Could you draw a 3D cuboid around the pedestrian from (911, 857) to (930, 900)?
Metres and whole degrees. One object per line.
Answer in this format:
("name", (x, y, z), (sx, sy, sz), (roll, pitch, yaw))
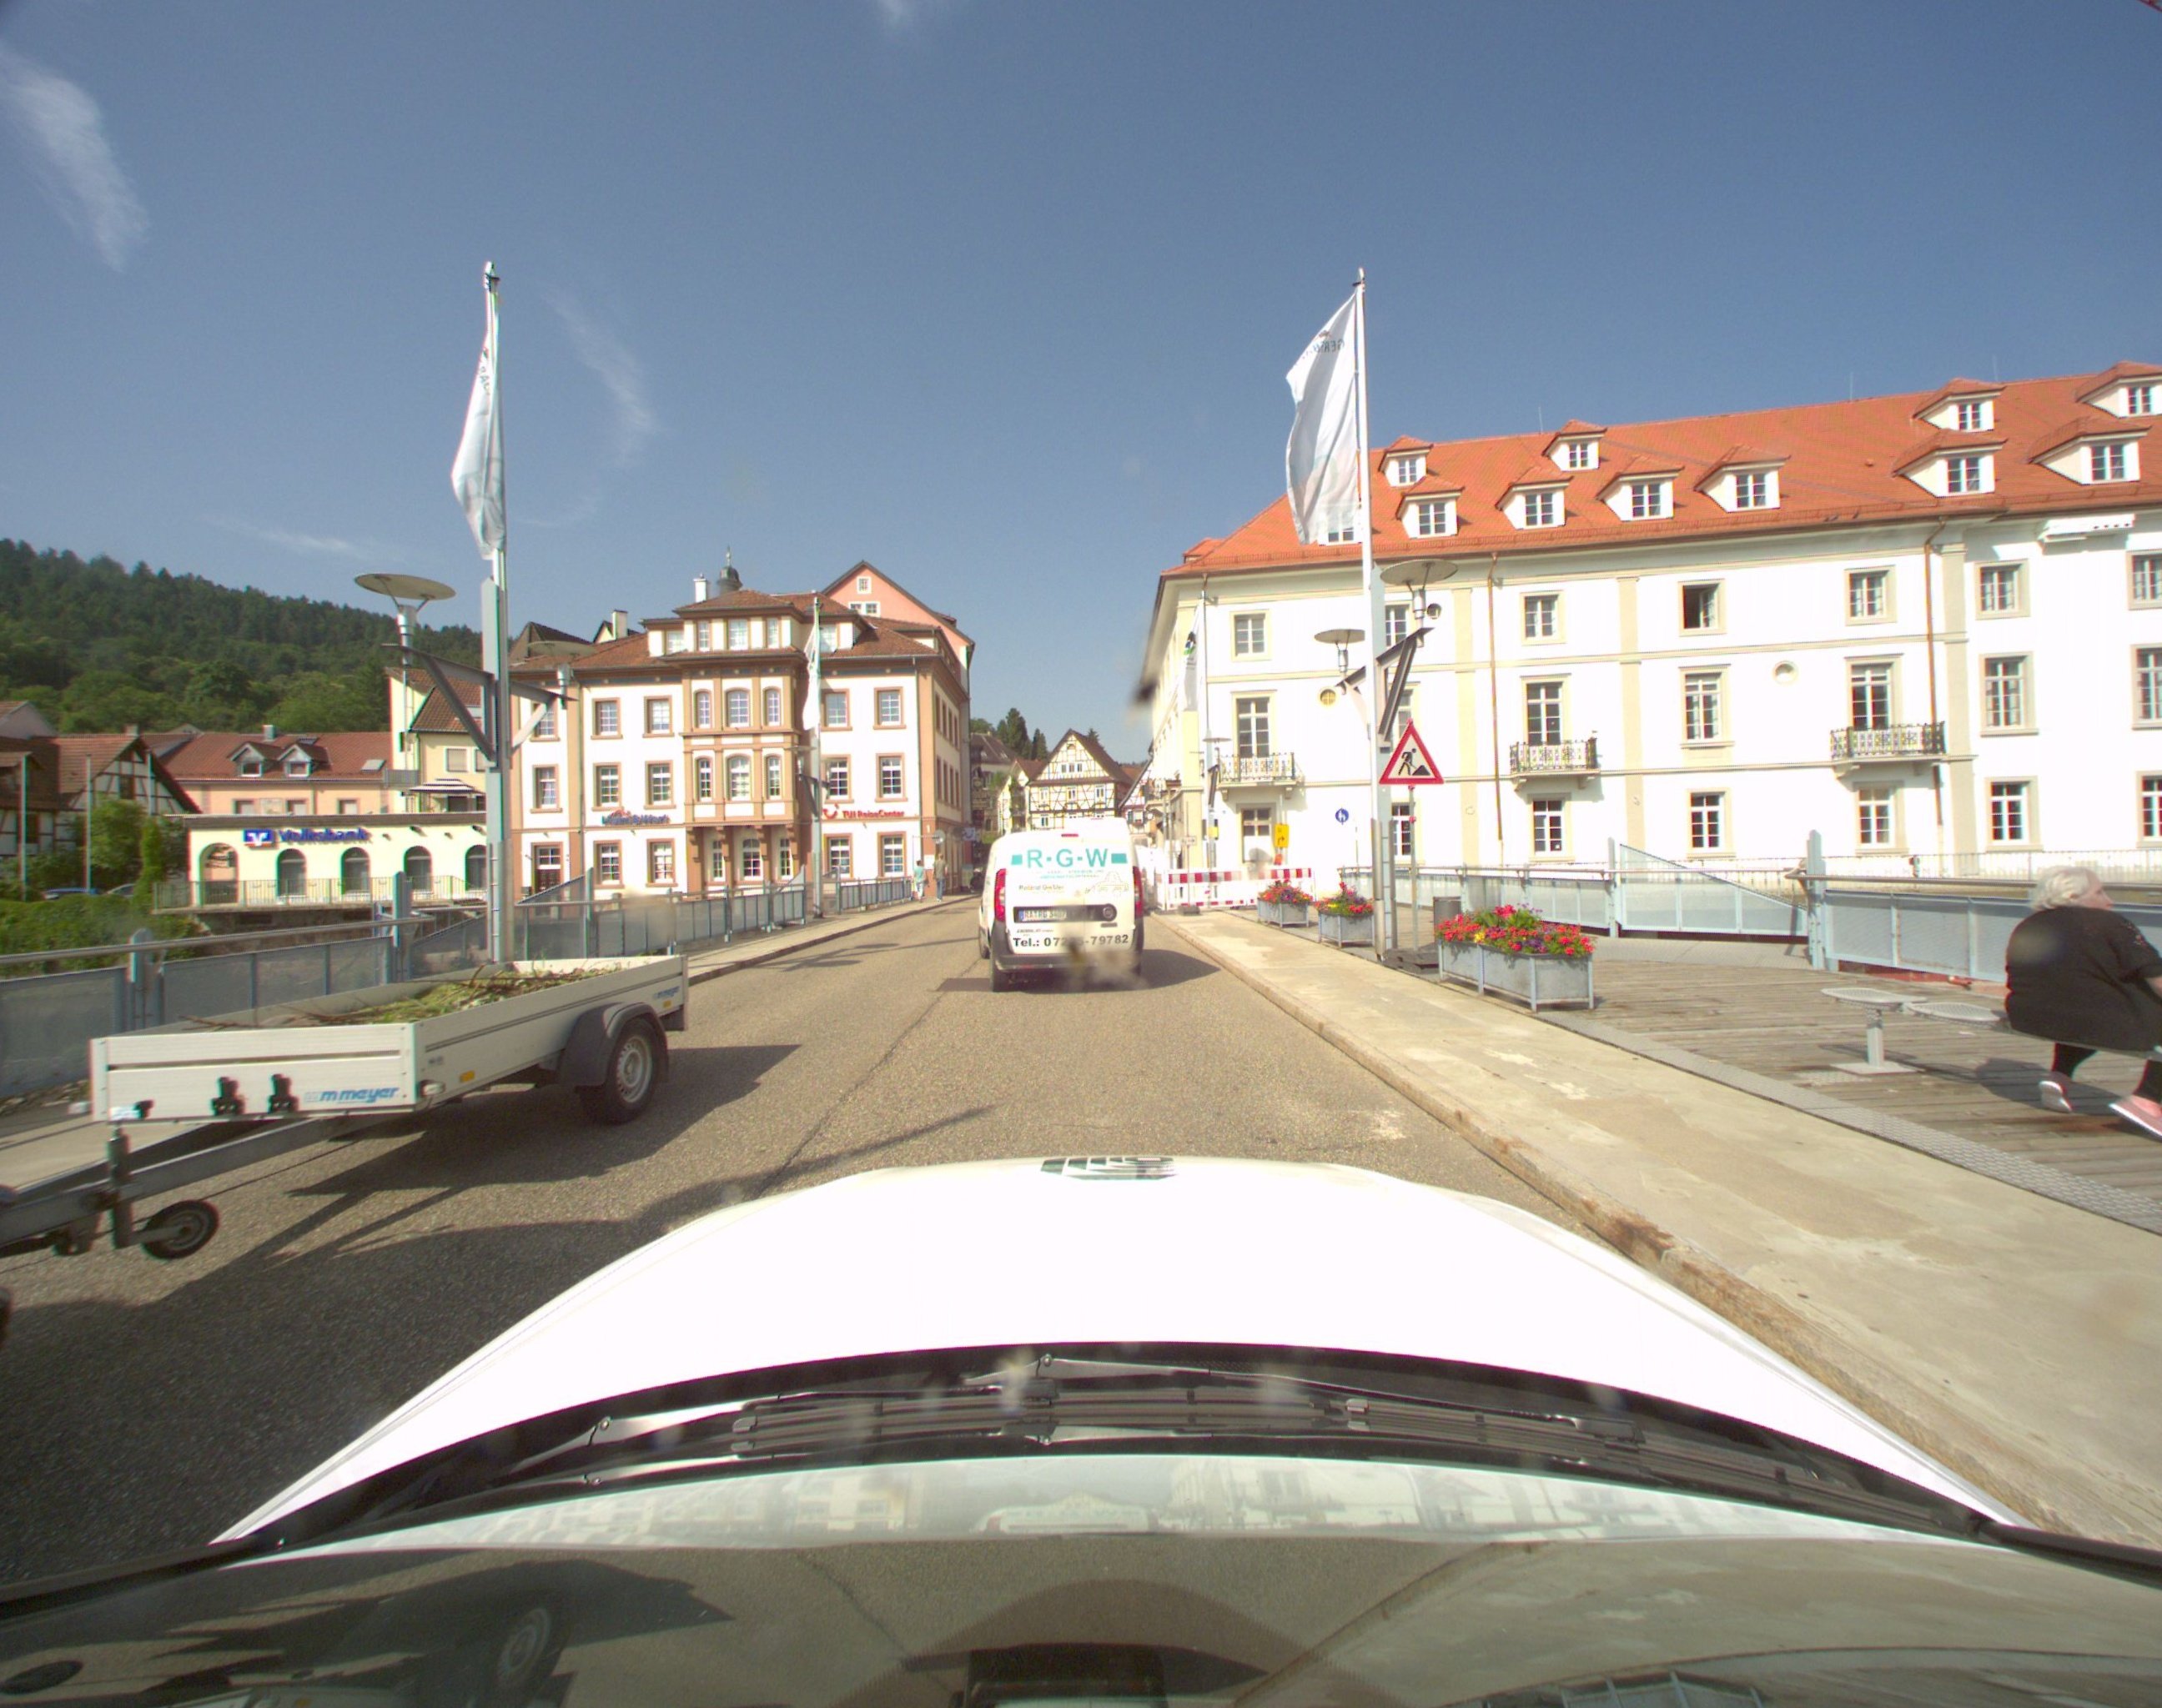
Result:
("pedestrian", (-6.102, 0.942, 30.977), (0.581, 1.609, 0.537), (-1, 0, 0))

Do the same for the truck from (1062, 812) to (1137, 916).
("truck", (0.425, 0.254, 22.530), (1.856, 2.585, 4.258), (-1, 0, -1))

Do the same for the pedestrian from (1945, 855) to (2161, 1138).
("pedestrian", (4.791, 0.637, 3.963), (0.451, 1.244, 0.625), (-2, -1, -6))

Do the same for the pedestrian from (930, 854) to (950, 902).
("pedestrian", (-5.358, 0.895, 30.937), (0.613, 1.762, 0.863), (-1, 0, -2))

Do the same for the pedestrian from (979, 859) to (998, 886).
("pedestrian", (-5.821, 1.180, 51.392), (1.069, 1.647, 0.686), (-2, 0, 2))

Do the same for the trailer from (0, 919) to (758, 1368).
("trailer", (-3.501, 1.077, 4.582), (1.746, 1.022, 4.183), (-2, 0, -2))

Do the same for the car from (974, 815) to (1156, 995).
("car", (-0.440, 0.554, 10.981), (1.844, 1.906, 4.300), (-1, 0, -9))
